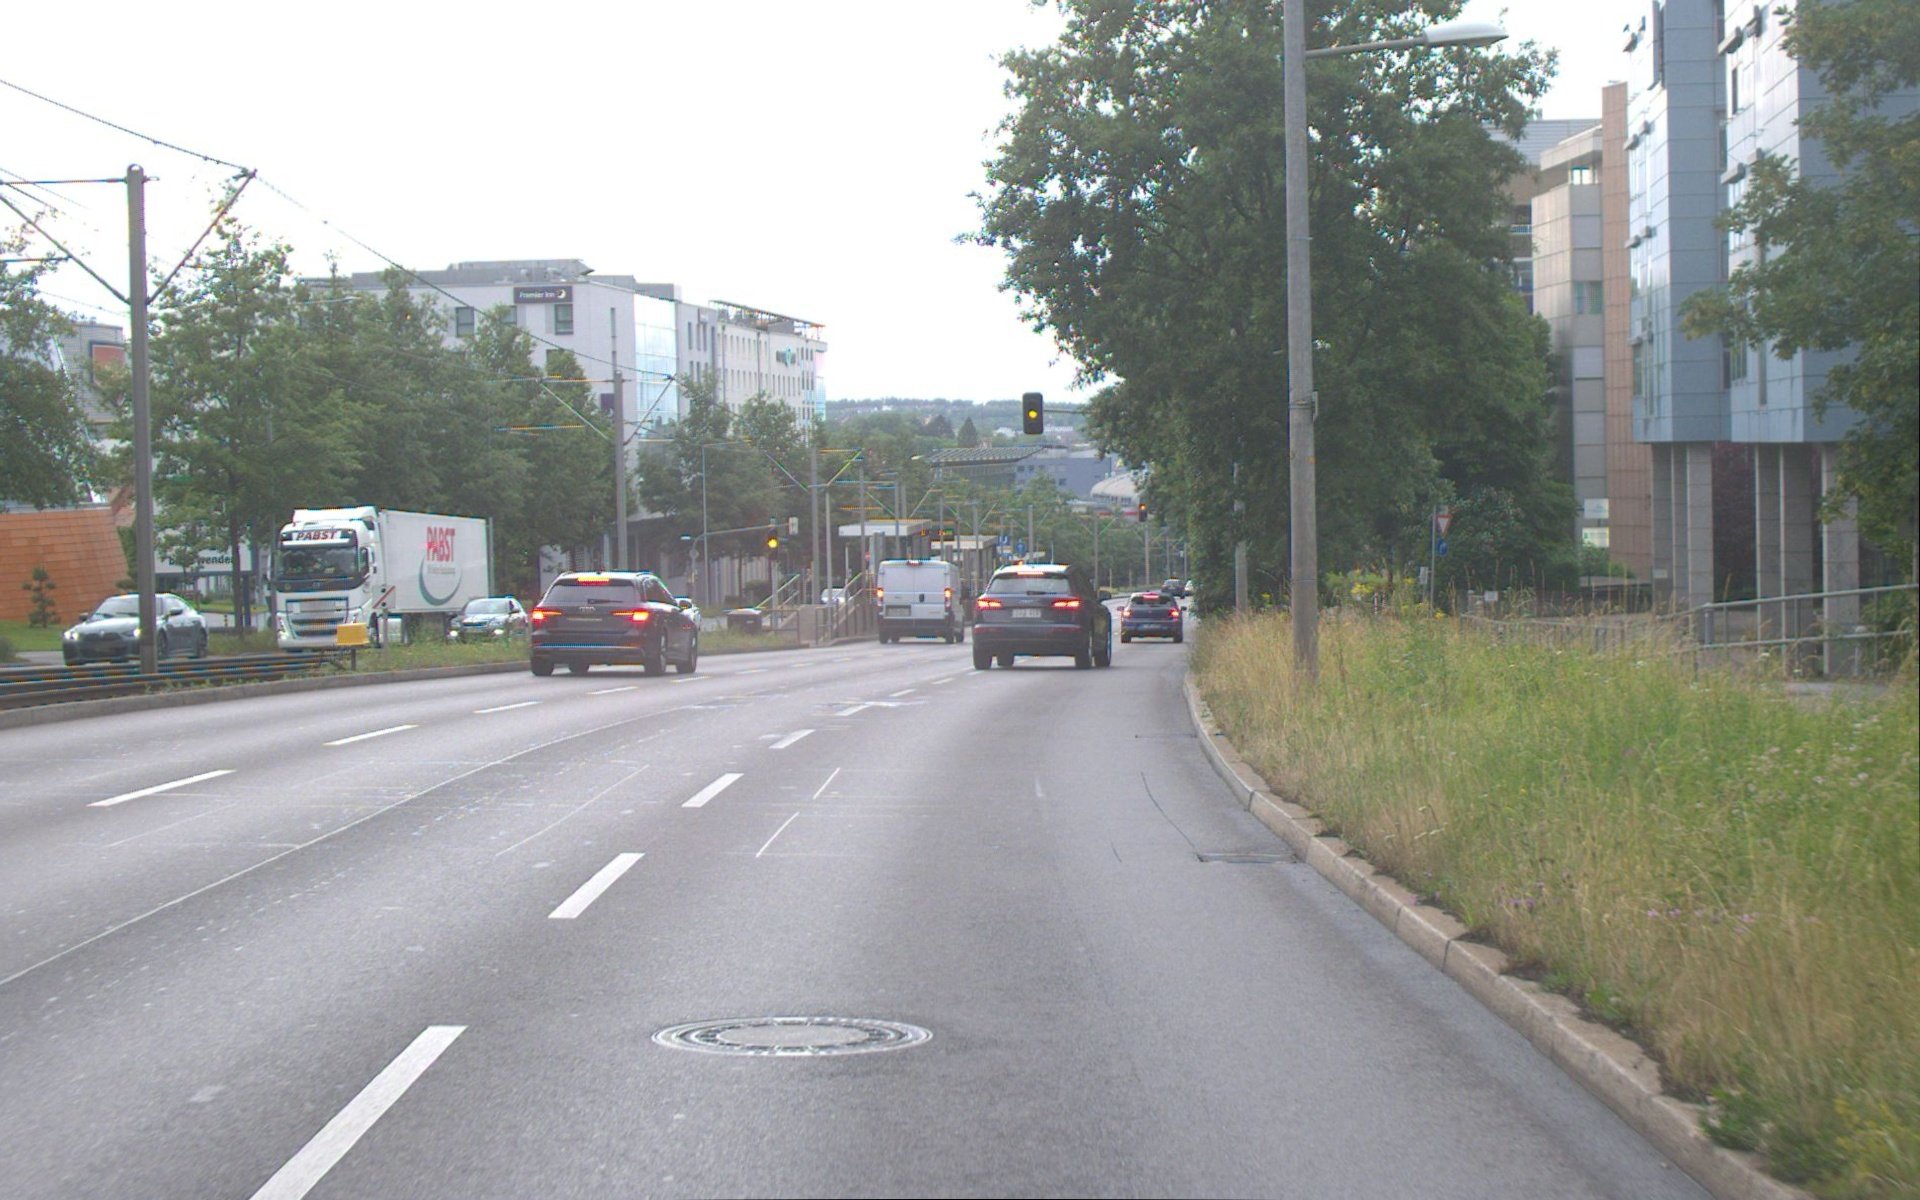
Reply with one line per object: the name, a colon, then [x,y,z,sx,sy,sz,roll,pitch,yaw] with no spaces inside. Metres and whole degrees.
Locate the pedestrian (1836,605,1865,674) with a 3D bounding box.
pedestrian: [18.050,0.800,69.699,0.503,1.404,0.457,0,-1,5]

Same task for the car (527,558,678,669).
car: [-4.911,0.144,47.734,1.785,1.409,4.806,0,1,-2]

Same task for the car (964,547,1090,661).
car: [1.101,0.025,54.995,1.922,1.704,4.098,1,1,2]

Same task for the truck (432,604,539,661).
truck: [-13.849,0.947,100.526,1.942,1.562,4.543,-2,-1,7]

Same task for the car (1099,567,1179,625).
car: [5.162,-0.134,99.697,1.789,1.585,4.001,-2,1,-4]

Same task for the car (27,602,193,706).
car: [-16.555,1.032,67.176,2.013,1.969,4.616,0,0,1]

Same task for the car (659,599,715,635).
car: [-11.197,0.703,141.011,1.663,1.437,3.896,0,0,5]

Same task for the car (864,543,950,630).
car: [-1.464,-0.404,94.426,2.267,2.277,4.760,1,1,-1]

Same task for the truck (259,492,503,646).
truck: [-16.865,-0.966,101.965,3.042,4.166,17.199,0,1,4]
